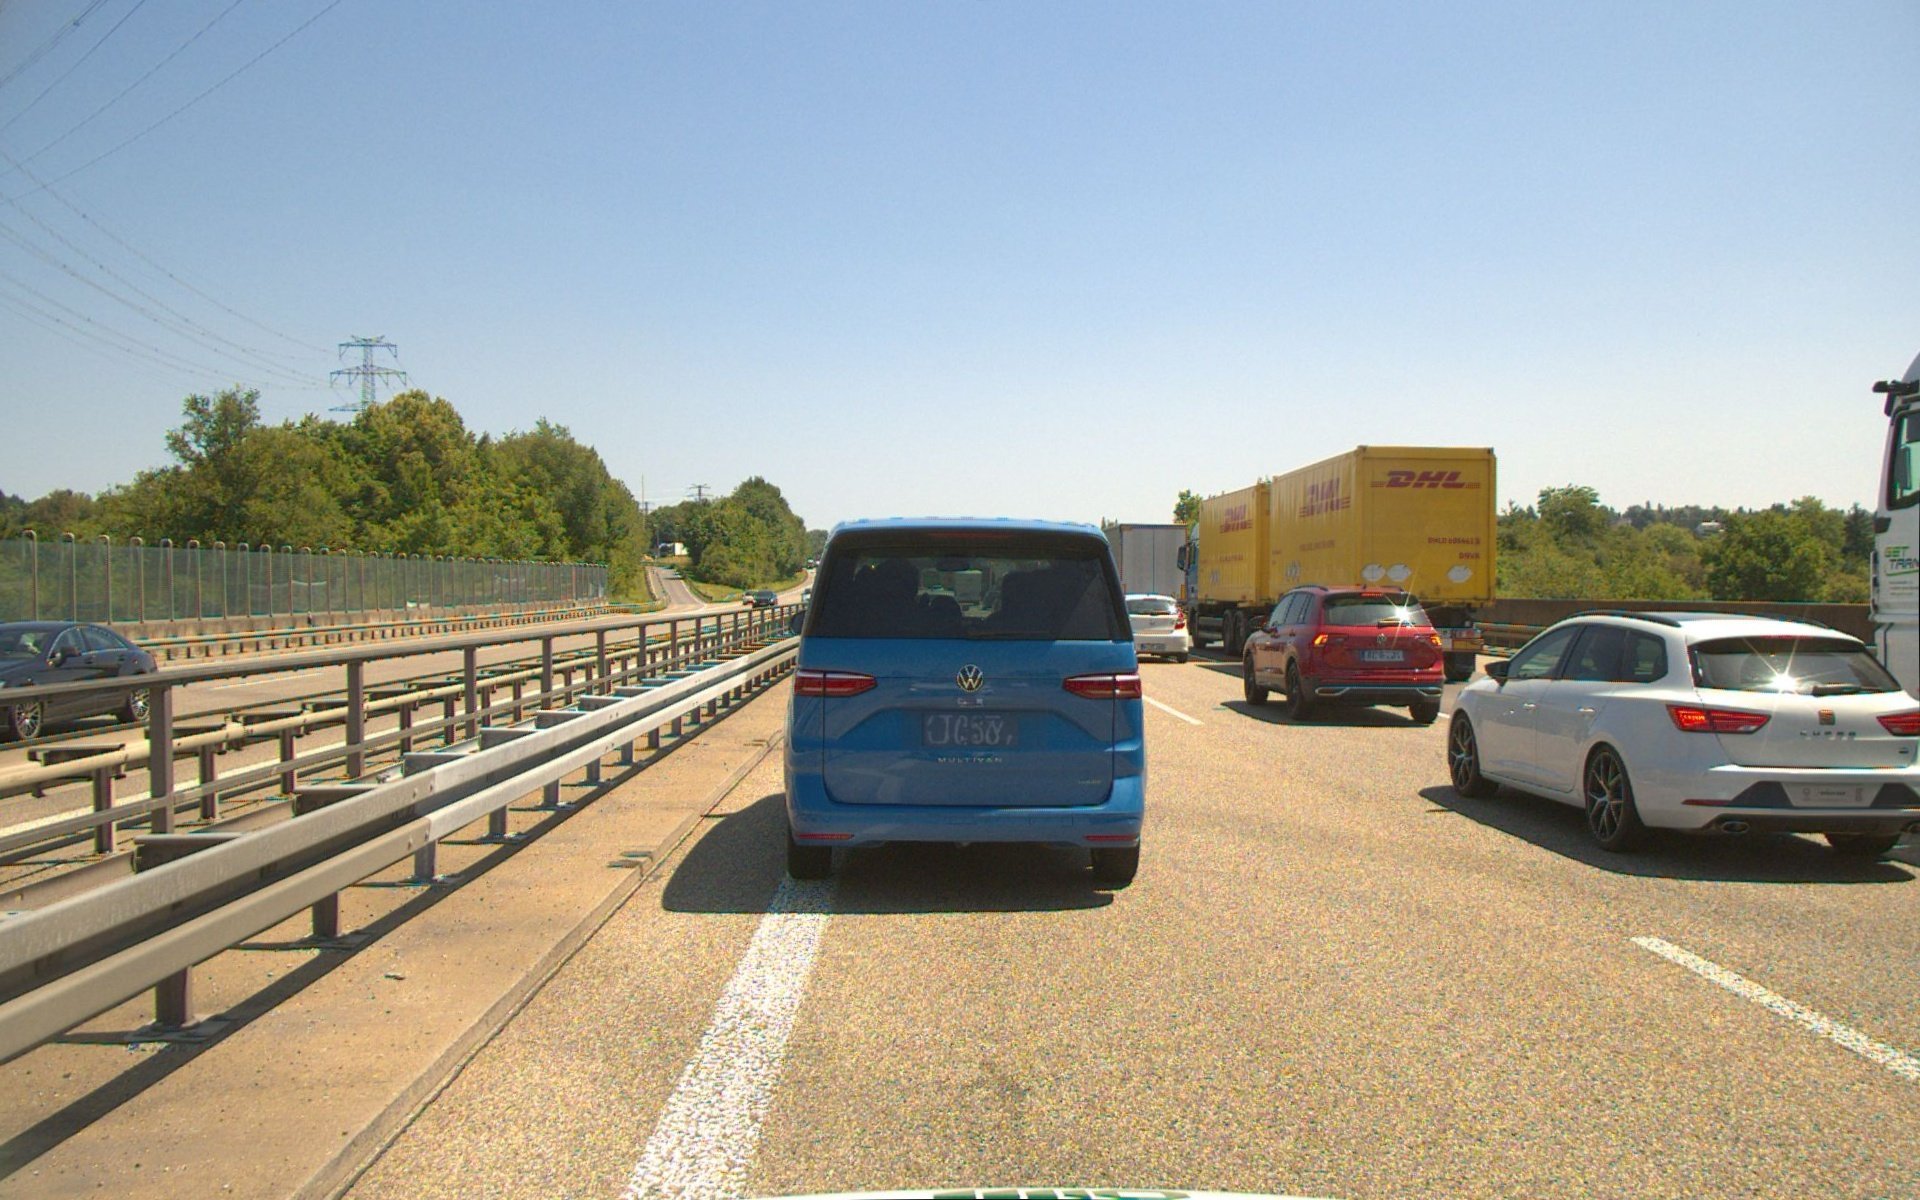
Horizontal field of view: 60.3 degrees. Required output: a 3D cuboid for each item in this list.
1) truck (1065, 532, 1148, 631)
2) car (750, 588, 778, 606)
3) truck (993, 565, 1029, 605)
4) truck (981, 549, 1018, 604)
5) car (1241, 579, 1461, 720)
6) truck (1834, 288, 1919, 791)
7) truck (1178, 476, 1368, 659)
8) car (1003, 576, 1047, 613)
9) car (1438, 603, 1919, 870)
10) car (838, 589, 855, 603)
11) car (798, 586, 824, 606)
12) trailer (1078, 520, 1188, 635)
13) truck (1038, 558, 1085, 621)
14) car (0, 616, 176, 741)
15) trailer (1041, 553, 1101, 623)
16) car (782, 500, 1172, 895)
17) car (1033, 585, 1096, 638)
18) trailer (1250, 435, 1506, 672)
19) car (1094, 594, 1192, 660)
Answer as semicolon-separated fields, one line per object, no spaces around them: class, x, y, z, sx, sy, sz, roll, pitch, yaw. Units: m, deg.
truck;6.509;-0.780;74.424;2.713;4.167;6.980;1;0;-3
car;-15.654;-0.226;132.144;1.764;1.410;4.262;1;0;-1
truck;4.365;-1.236;143.950;2.308;3.275;9.735;1;0;-3
truck;3.860;-2.223;163.521;2.777;5.128;11.139;1;0;-3
car;4.926;0.571;21.377;1.813;1.636;3.999;0;0;-1
truck;8.531;-0.369;7.778;2.793;3.665;10.765;1;1;-2
truck;7.851;-0.716;43.057;2.667;4.125;10.332;1;0;-2
car;2.871;-0.251;73.514;1.680;1.567;3.820;-1;0;-1
car;4.740;0.746;11.062;1.745;1.411;4.186;0;0;-2
car;-13.138;-0.450;191.678;1.805;1.472;4.417;1;0;-1
car;-11.924;-0.328;132.294;1.803;1.556;3.557;-1;0;-1
trailer;6.830;-0.813;67.065;2.700;4.219;11.305;1;0;-3
truck;6.245;-0.630;102.720;2.320;3.787;6.031;1;0;-2
car;-12.055;0.969;21.155;1.818;1.422;4.674;-3;0;-1
trailer;6.425;-0.628;97.193;2.331;3.809;11.184;1;0;-2
car;0.044;0.456;9.852;1.844;1.869;3.999;0;0;-1
car;3.287;0.384;52.689;1.680;1.614;3.819;0;-1;-1
trailer;8.109;-0.792;33.413;2.647;4.094;8.927;1;0;-2
car;4.128;0.575;37.890;1.801;1.438;4.000;0;0;0
